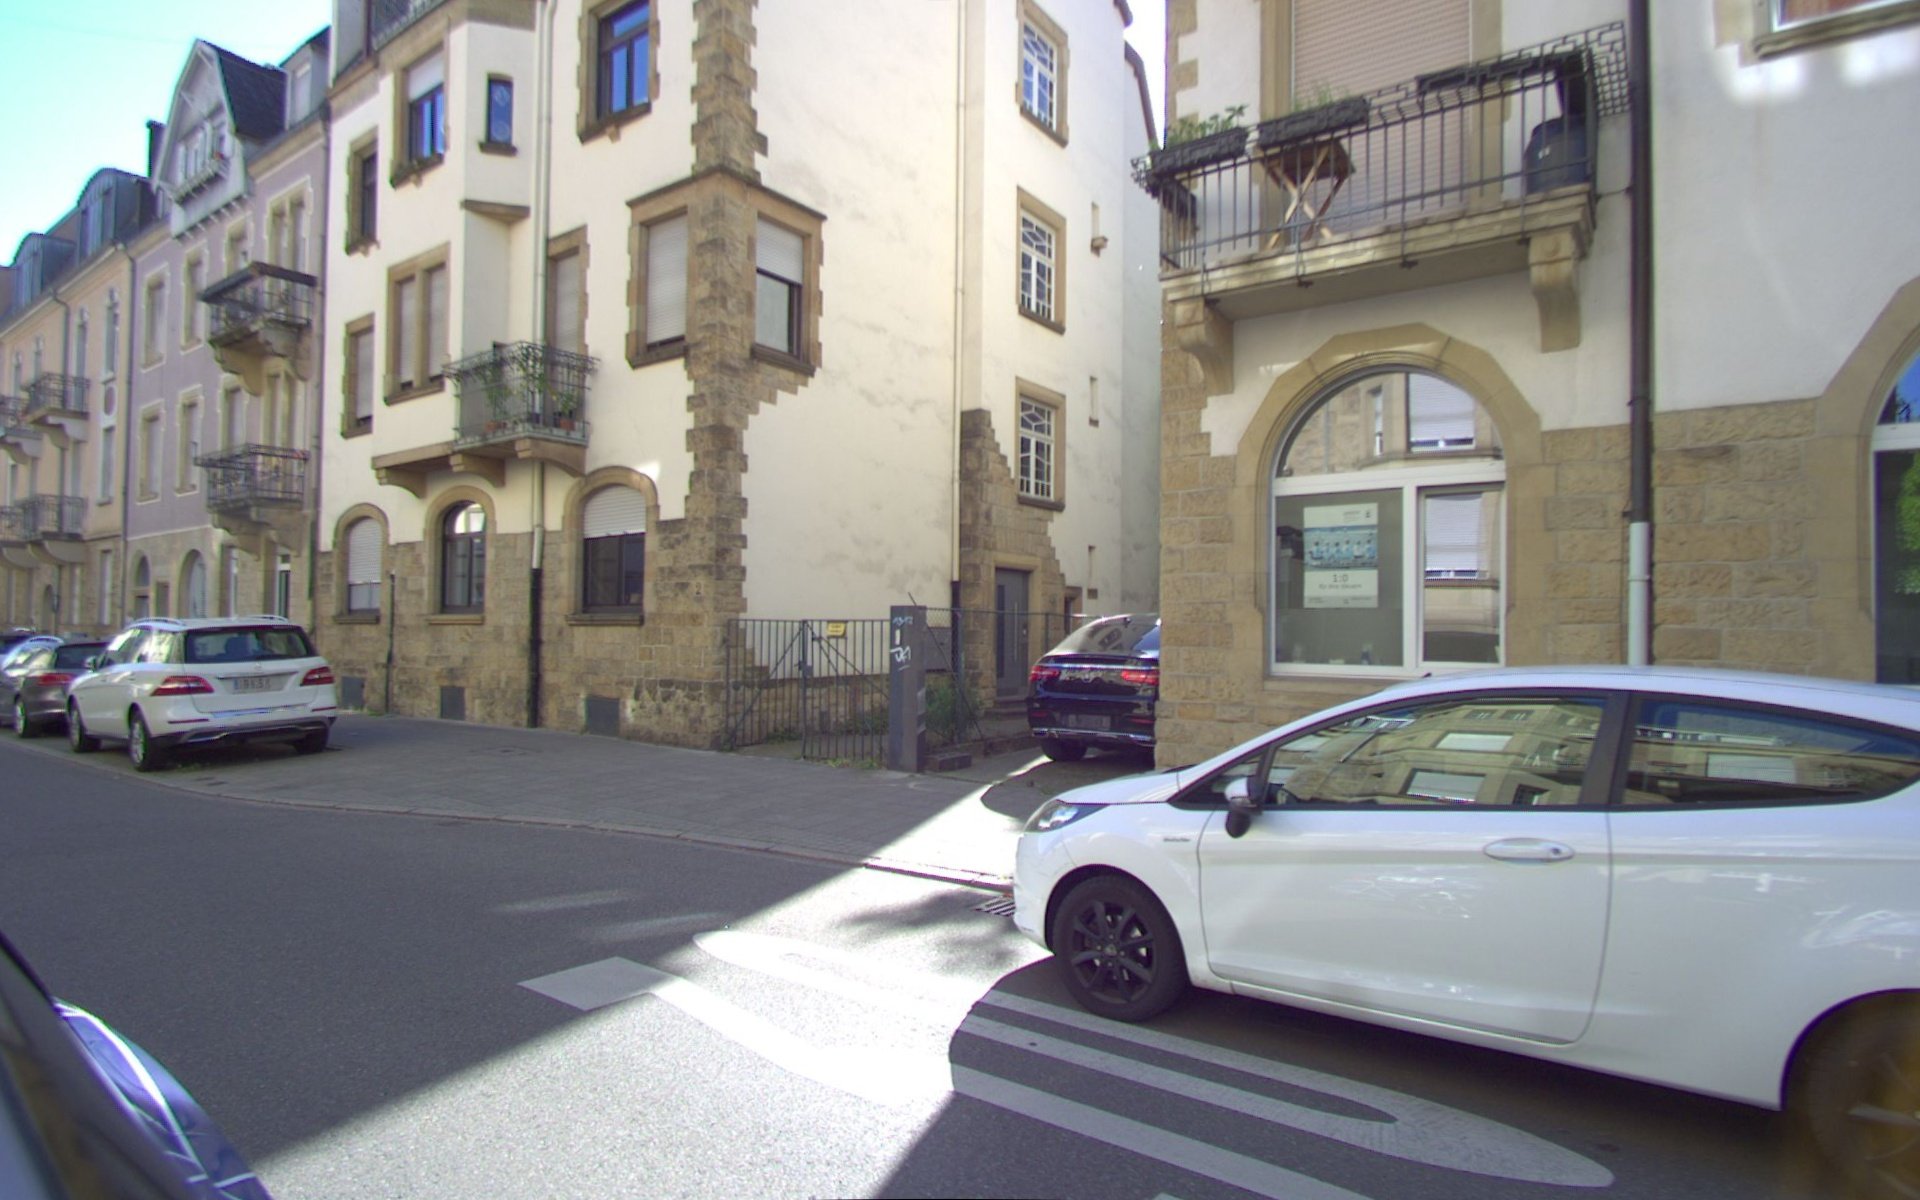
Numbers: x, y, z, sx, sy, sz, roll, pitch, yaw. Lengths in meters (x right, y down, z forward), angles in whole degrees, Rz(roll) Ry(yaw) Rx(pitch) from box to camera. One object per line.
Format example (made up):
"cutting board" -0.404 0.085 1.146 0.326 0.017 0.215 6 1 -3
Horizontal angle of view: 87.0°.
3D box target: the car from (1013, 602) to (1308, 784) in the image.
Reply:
"car" 2.490 0.987 11.872 1.906 1.741 3.932 -2 -3 36

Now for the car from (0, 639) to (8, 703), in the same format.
"car" -23.252 1.641 22.861 3.654 1.404 1.660 -2 0 32

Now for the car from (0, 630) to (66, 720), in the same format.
"car" -19.030 1.433 19.538 4.010 1.595 1.700 -2 0 35

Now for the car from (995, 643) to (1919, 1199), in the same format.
"car" 2.097 0.917 3.838 3.730 1.475 1.618 -2 -3 39

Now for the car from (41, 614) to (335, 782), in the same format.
"car" -10.047 1.124 13.031 4.719 1.735 1.874 -2 0 38

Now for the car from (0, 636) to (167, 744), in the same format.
"car" -14.465 1.354 16.267 4.270 1.498 1.560 -2 -1 35
